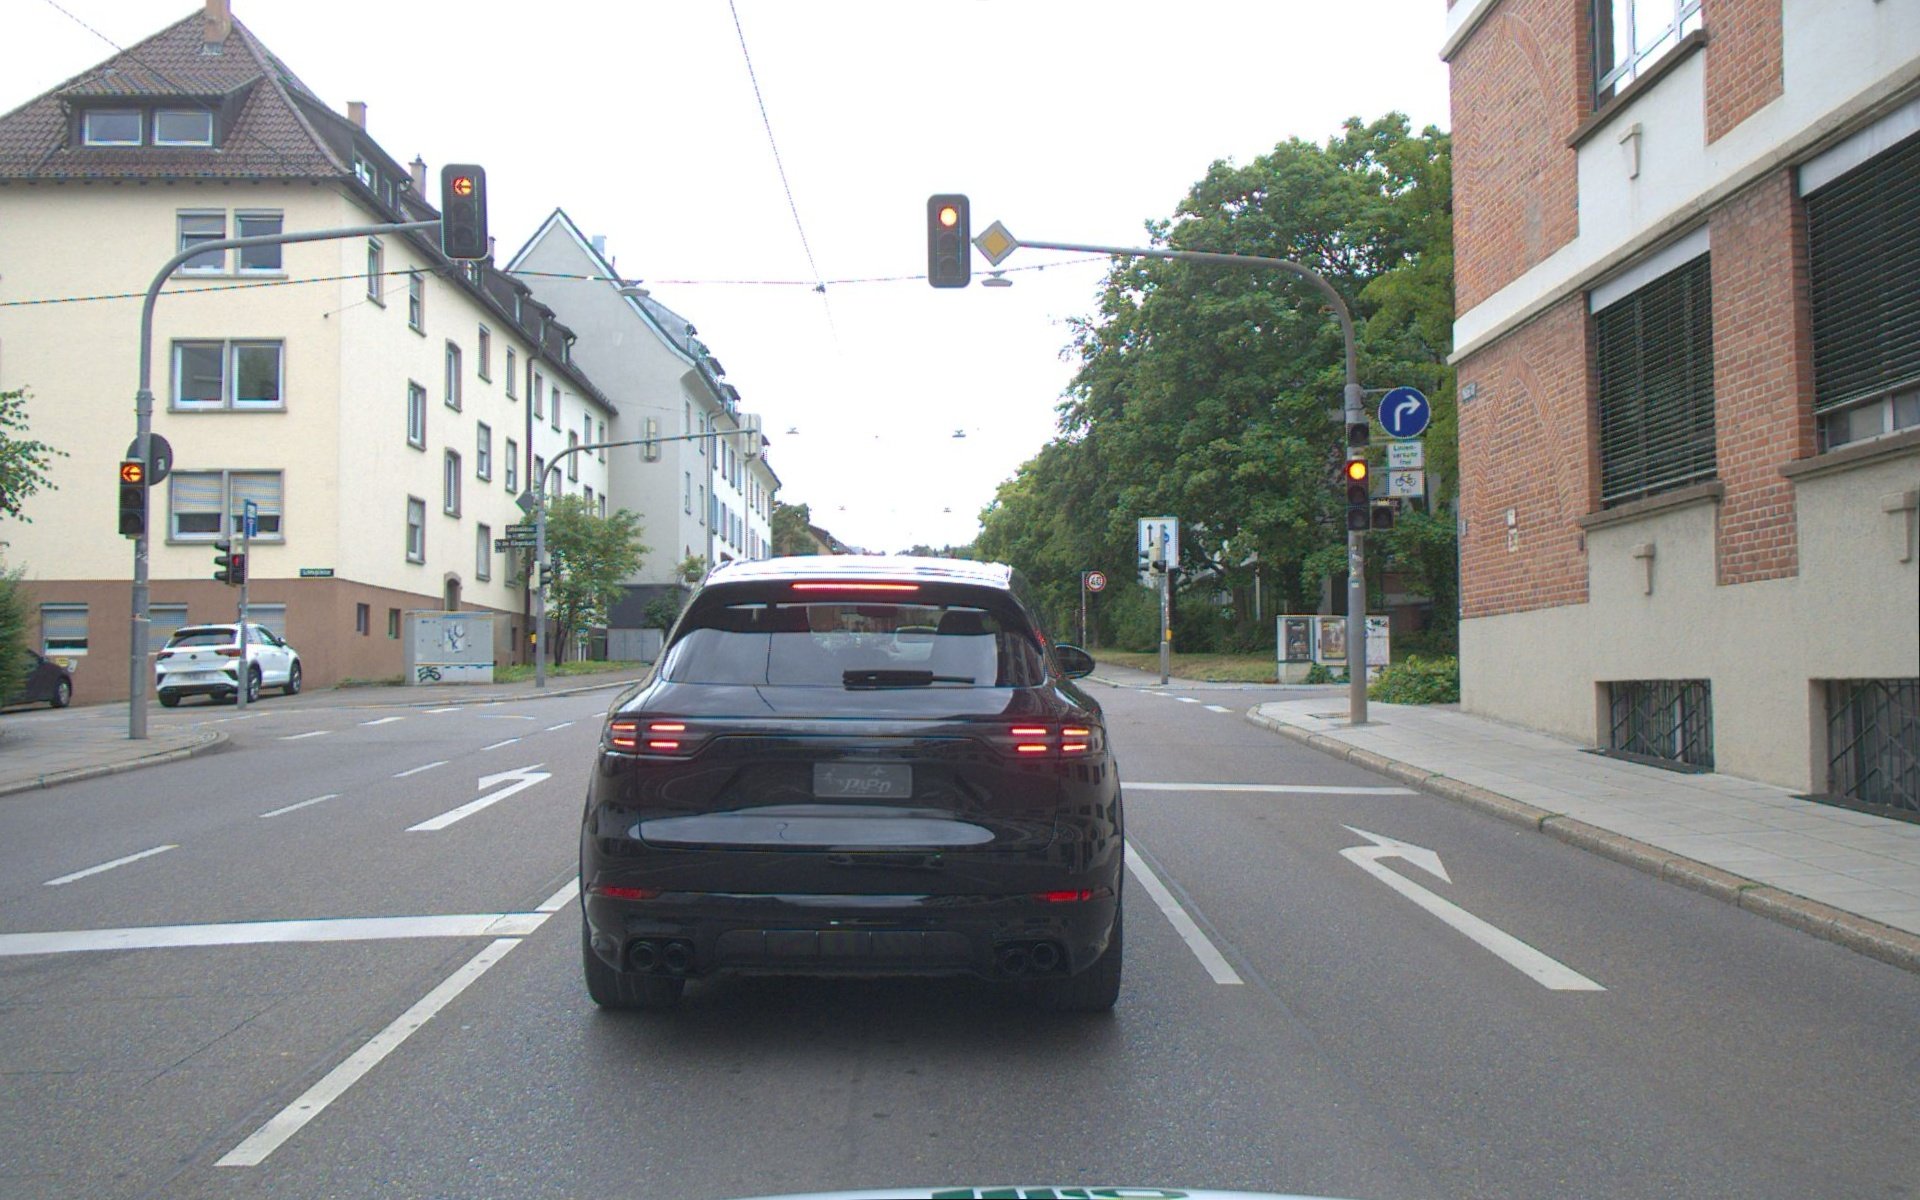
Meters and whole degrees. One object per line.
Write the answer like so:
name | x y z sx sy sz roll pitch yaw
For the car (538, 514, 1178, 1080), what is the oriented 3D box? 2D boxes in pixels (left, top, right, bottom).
car | -0.339 0.621 7.126 1.953 1.726 3.999 1 0 -1

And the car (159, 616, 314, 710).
car | -14.657 1.228 33.712 1.638 1.691 3.995 -3 0 -5

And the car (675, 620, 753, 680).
car | -7.142 1.434 48.264 1.630 1.545 3.739 -4 0 0

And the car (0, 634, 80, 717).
car | -19.715 1.556 33.425 1.636 1.573 4.100 -3 0 -1

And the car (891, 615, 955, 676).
car | -1.033 1.212 45.515 1.654 1.579 3.887 1 0 -2

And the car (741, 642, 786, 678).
car | -8.239 2.510 69.533 1.637 1.386 3.997 0 0 -4
